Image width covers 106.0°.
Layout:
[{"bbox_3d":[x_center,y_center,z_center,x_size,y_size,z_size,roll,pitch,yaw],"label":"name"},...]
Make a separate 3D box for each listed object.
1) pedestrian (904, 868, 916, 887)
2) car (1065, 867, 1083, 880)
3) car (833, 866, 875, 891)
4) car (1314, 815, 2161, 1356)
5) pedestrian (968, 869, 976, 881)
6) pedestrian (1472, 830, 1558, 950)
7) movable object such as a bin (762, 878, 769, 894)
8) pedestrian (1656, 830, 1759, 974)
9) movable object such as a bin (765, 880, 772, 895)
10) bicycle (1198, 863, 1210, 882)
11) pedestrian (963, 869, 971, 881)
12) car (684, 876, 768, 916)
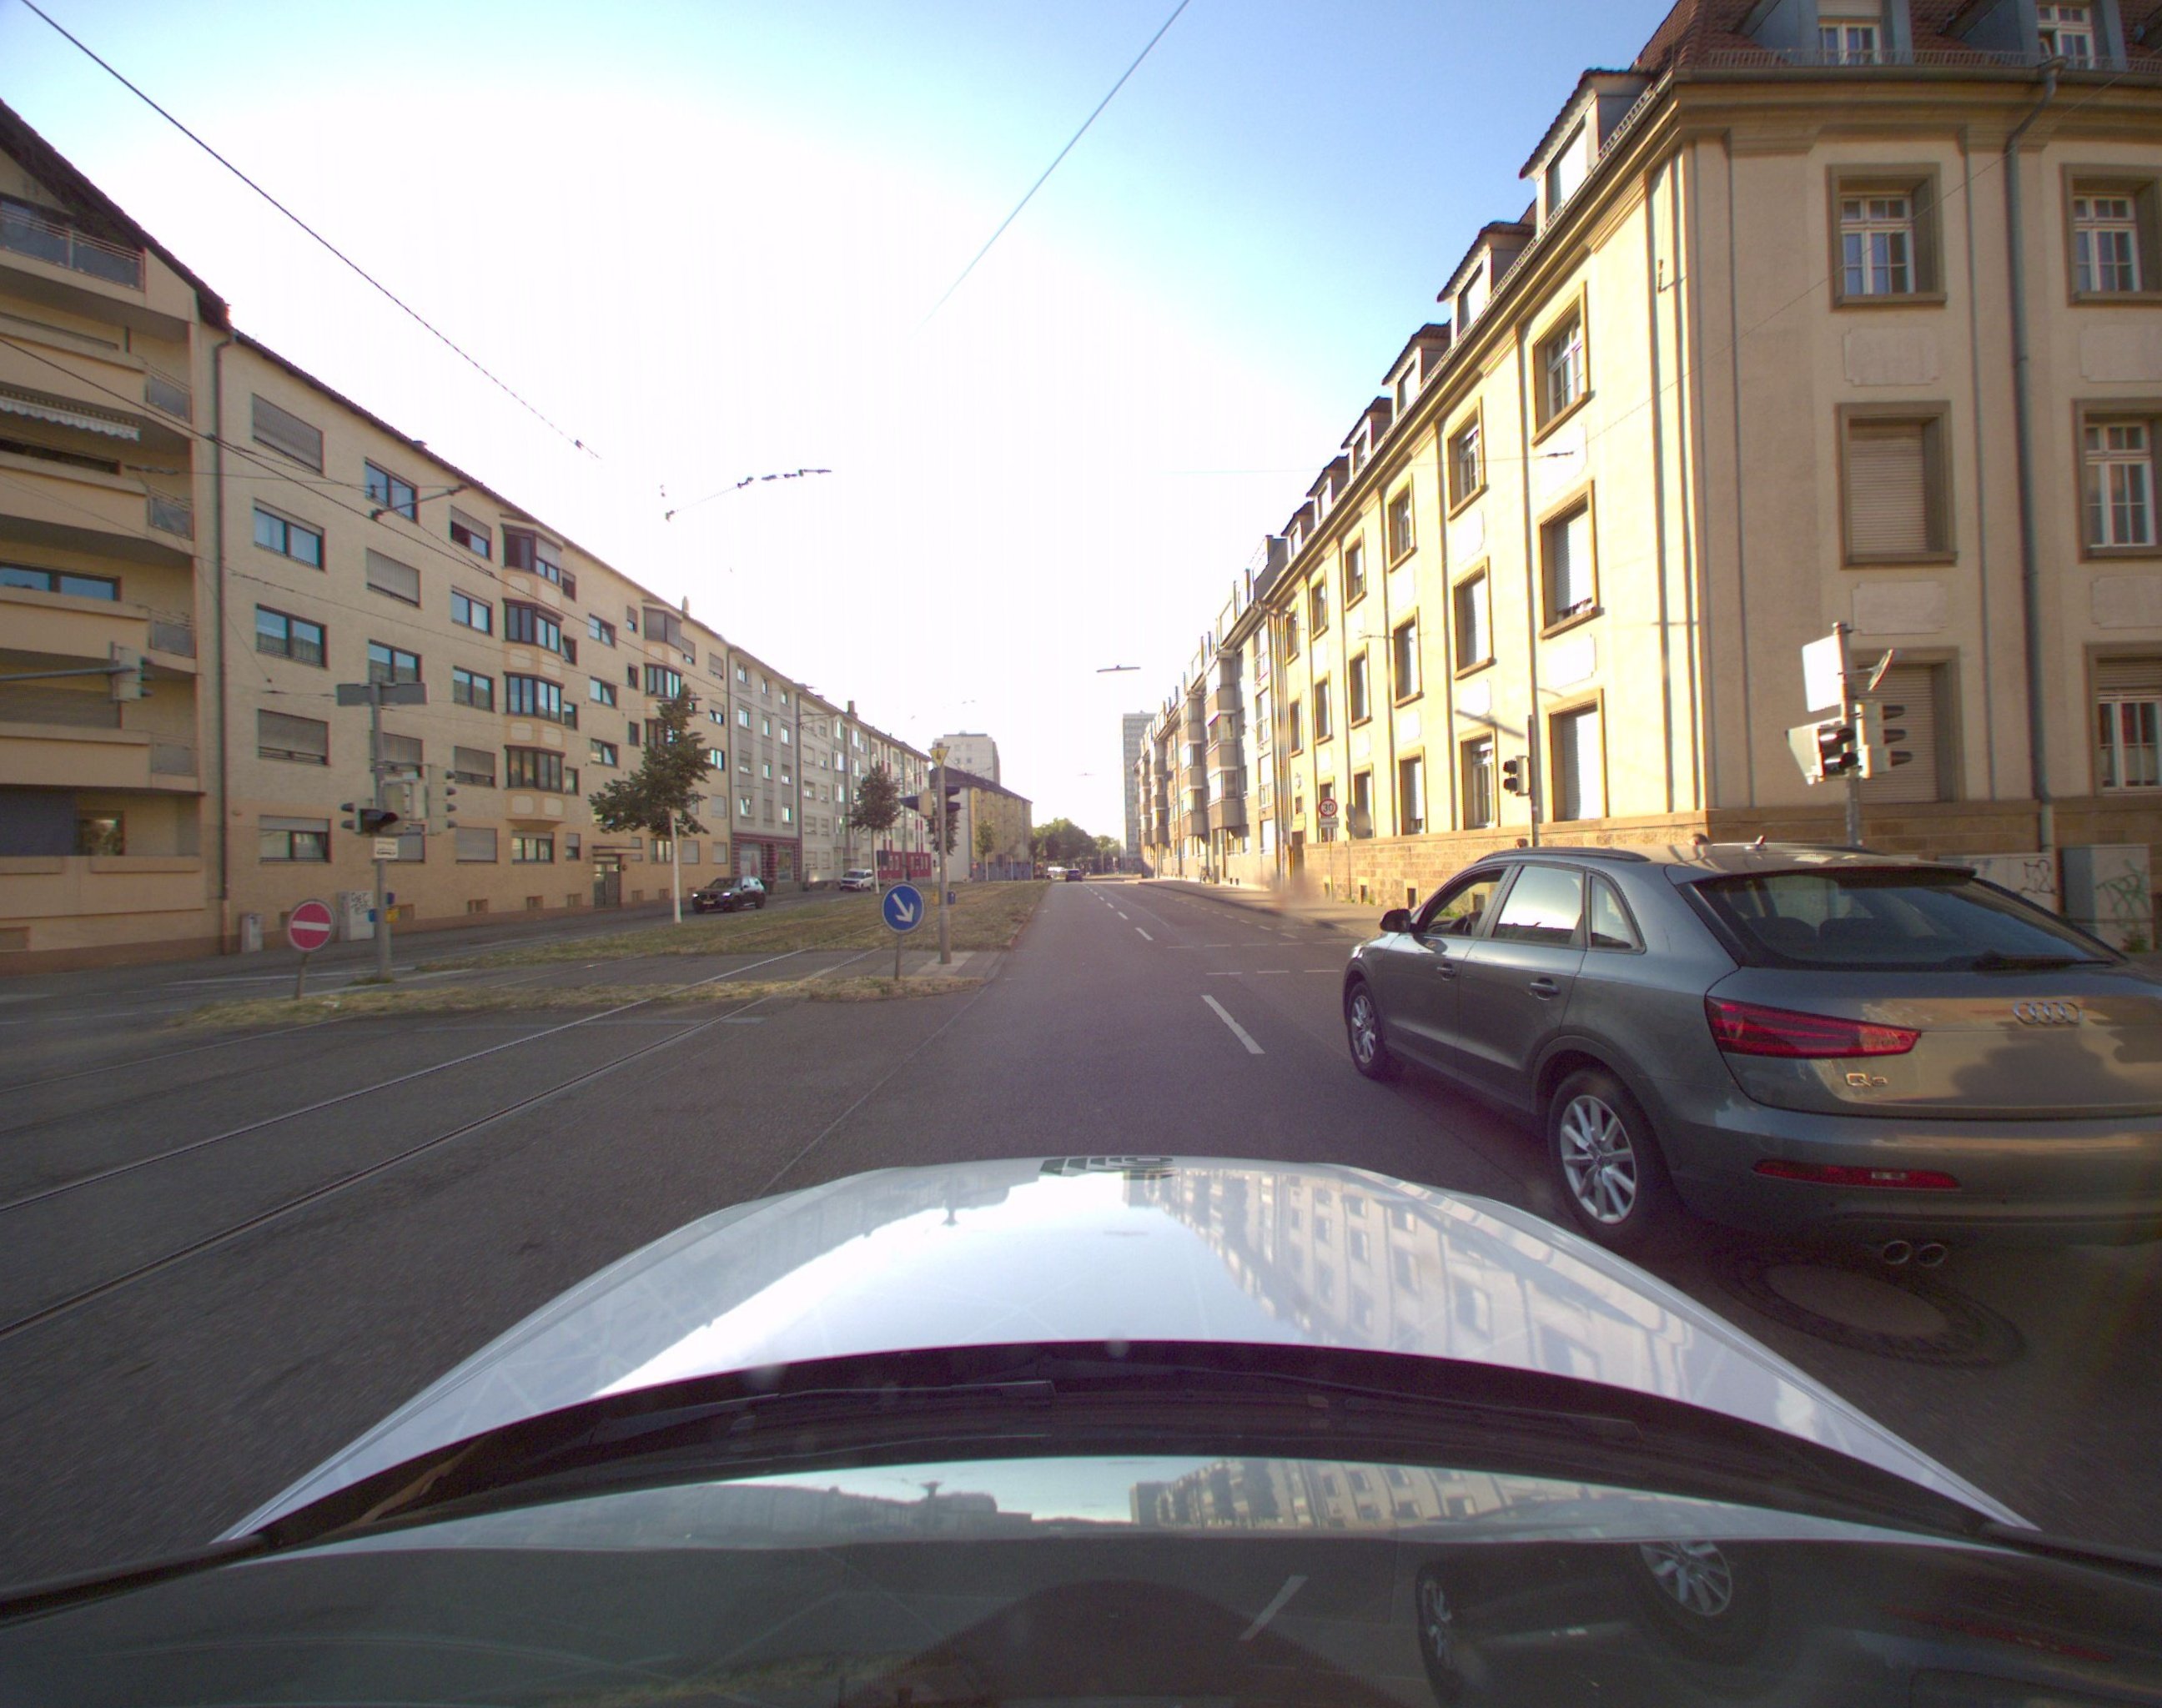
[{"bbox_3d":[-19.153,2.620,91.182,1.000,2.036,0.887,-1,-2,5],"label":"pedestrian"},{"bbox_3d":[-0.745,2.143,90.030,1.920,1.456,4.327,-1,-1,1],"label":"car"},{"bbox_3d":[-18.513,2.008,66.578,1.985,1.925,4.544,-1,-1,3],"label":"car"},{"bbox_3d":[2.786,0.709,4.503,1.693,1.553,4.222,0,-1,-2],"label":"car"},{"bbox_3d":[-15.852,3.082,118.911,0.958,1.670,1.012,-1,-2,4],"label":"pedestrian"},{"bbox_3d":[6.614,0.544,12.450,0.833,1.762,0.823,-1,-2,-1],"label":"pedestrian"},{"bbox_3d":[-20.772,2.100,53.610,0.297,1.036,0.441,-1,-2,-2],"label":"movable object such as a bin"},{"bbox_3d":[8.014,0.598,10.449,0.627,1.758,0.825,-1,-2,-1],"label":"pedestrian"},{"bbox_3d":[-20.766,2.228,54.130,0.297,1.036,0.441,-1,-2,-2],"label":"movable object such as a bin"},{"bbox_3d":[7.249,1.094,48.081,0.383,1.096,1.502,-3,-1,-3],"label":"bicycle"},{"bbox_3d":[-16.674,3.080,118.698,0.958,1.694,1.012,-1,-2,4],"label":"pedestrian"},{"bbox_3d":[-16.771,1.946,38.757,1.891,1.633,4.745,-2,-1,-1],"label":"car"}]
